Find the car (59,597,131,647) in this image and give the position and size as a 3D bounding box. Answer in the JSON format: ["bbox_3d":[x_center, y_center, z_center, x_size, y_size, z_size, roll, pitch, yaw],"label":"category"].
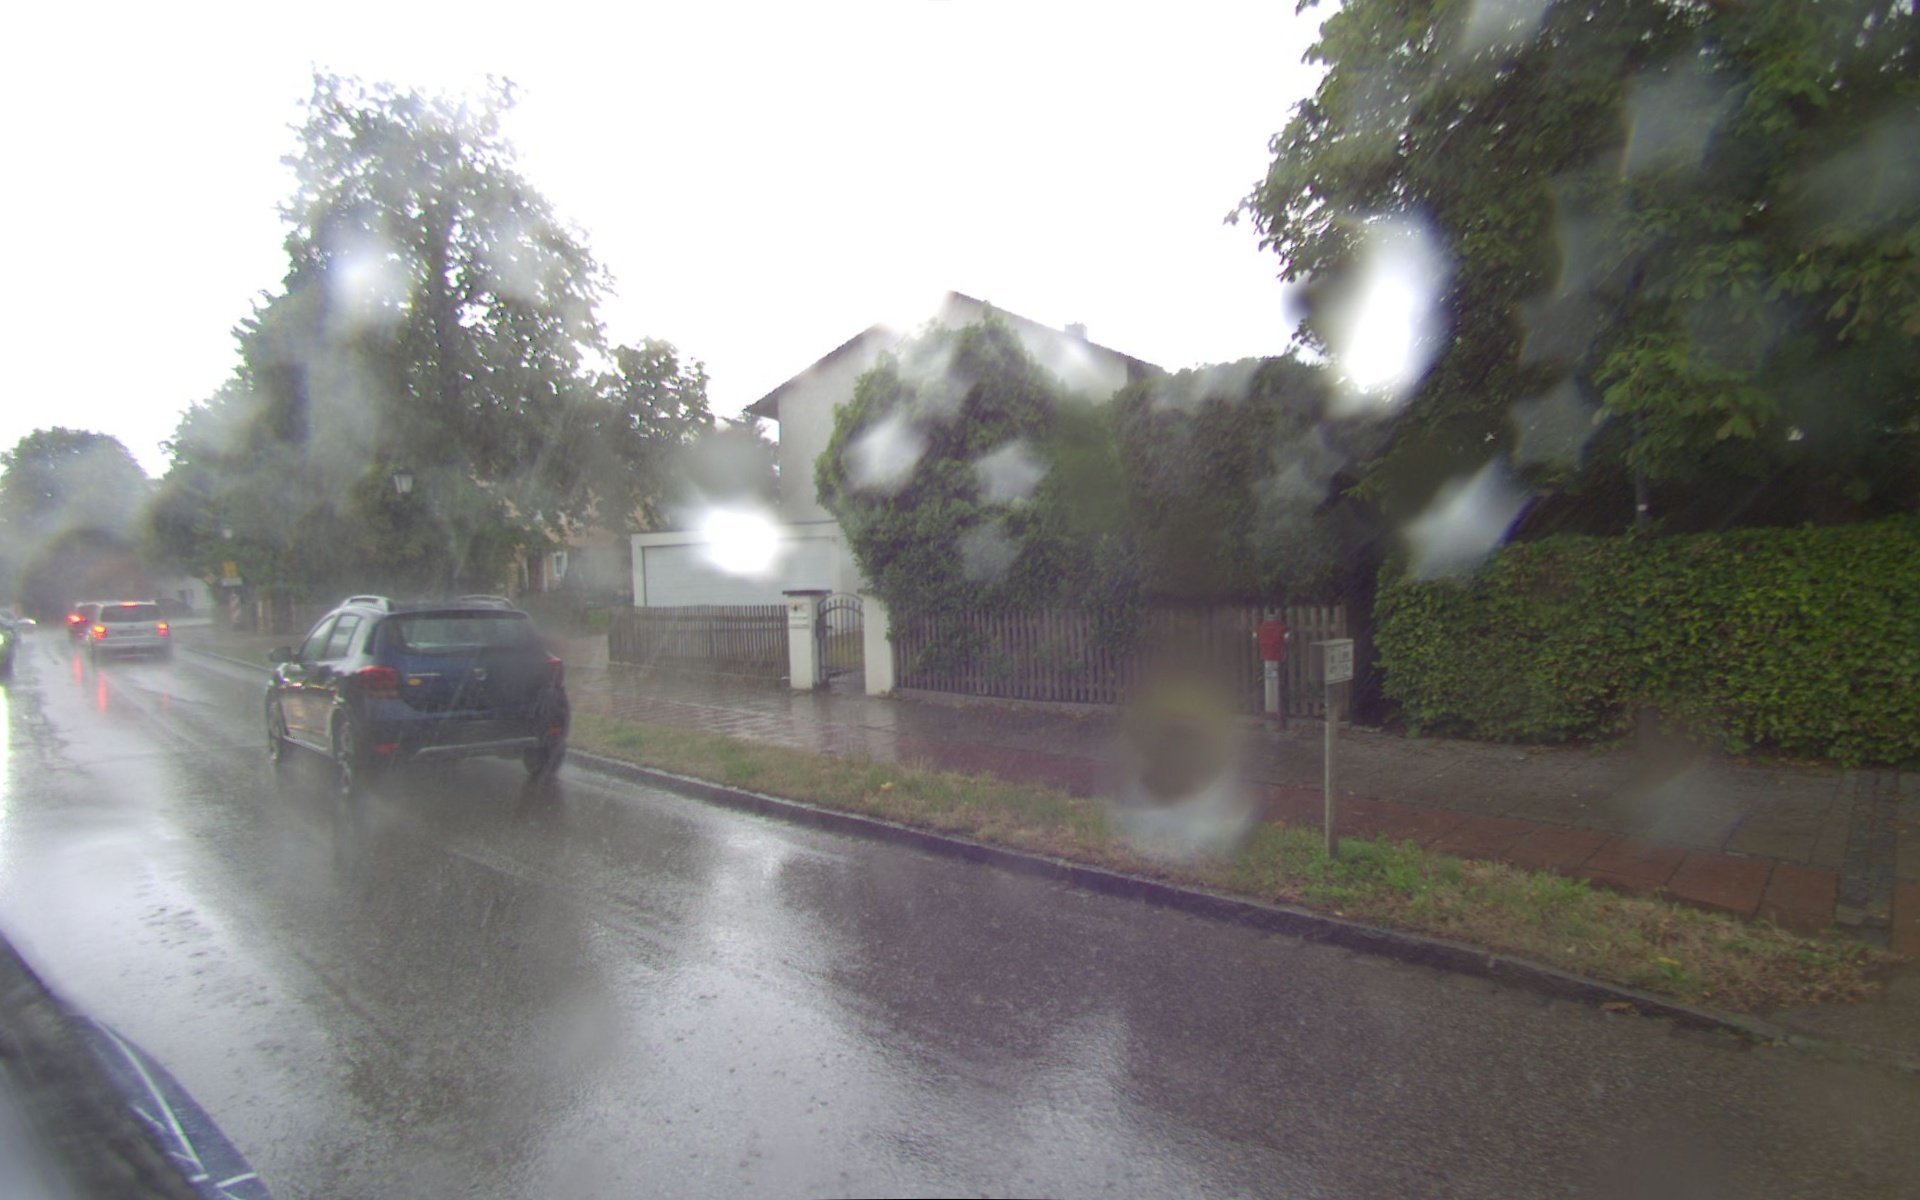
[{"bbox_3d":[-33.150,0.792,38.748,1.899,1.757,4.196,-2,1,-43],"label":"car"}]

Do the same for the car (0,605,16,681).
[{"bbox_3d":[-23.678,1.016,23.968,1.846,1.624,4.966,-4,3,-43],"label":"car"}]

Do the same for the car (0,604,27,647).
[{"bbox_3d":[-36.962,0.985,38.653,1.846,1.532,4.966,-4,3,-43],"label":"car"}]

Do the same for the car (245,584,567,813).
[{"bbox_3d":[-5.034,0.719,8.992,3.540,1.622,1.569,-1,-1,45],"label":"car"}]

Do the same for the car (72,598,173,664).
[{"bbox_3d":[-23.468,0.833,28.316,4.001,1.690,1.733,-1,-1,44],"label":"car"}]
